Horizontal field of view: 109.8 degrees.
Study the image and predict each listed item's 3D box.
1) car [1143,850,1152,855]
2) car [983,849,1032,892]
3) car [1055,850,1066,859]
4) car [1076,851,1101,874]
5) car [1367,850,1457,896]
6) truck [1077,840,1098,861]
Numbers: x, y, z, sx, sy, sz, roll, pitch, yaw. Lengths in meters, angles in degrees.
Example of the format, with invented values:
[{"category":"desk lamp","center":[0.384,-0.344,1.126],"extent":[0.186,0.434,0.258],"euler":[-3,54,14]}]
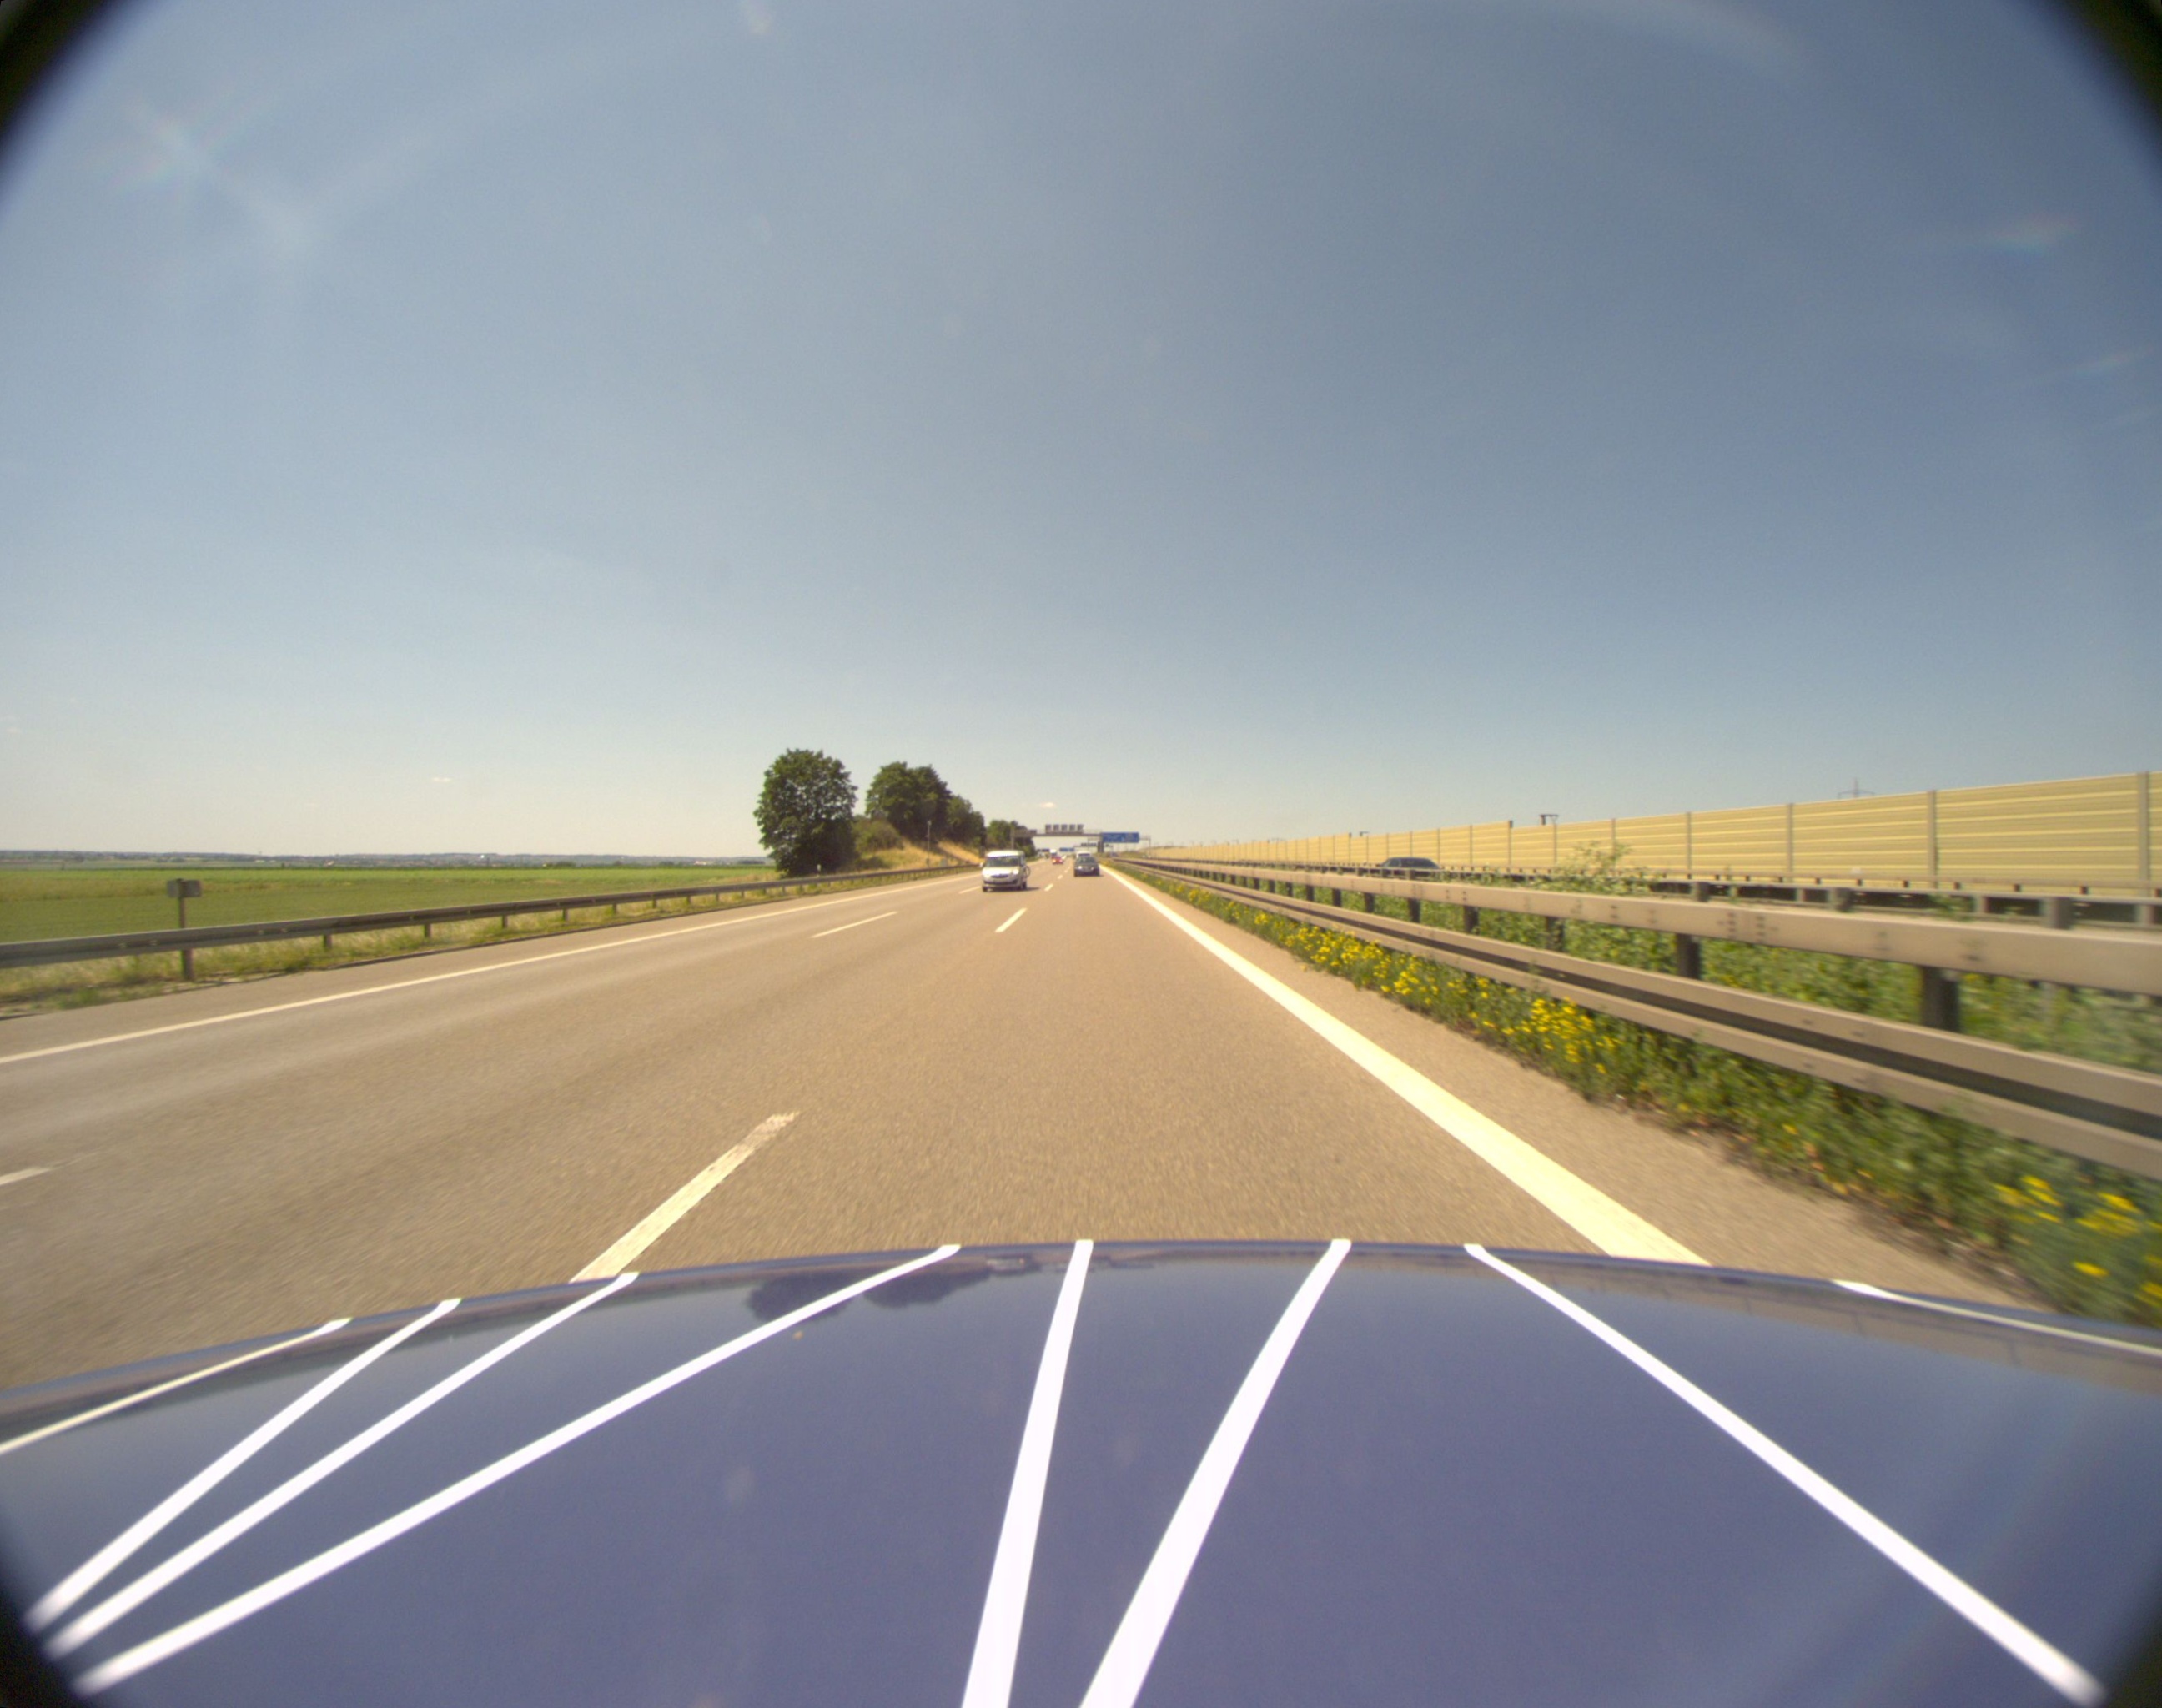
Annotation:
[{"category":"car","center":[17.833,-0.417,203.876],"extent":[1.998,1.455,4.813],"euler":[-1,1,0]},{"category":"car","center":[-3.347,0.712,35.670],"extent":[1.812,1.836,5.311],"euler":[-2,0,-1]},{"category":"car","center":[-3.372,0.054,126.771],"extent":[1.723,1.514,3.581],"euler":[-2,1,-1]},{"category":"car","center":[0.505,0.580,54.276],"extent":[1.715,1.586,4.546],"euler":[0,0,-1]},{"category":"car","center":[13.709,0.732,31.717],"extent":[1.998,1.674,3.999],"euler":[-2,1,1]},{"category":"truck","center":[0.708,-0.422,92.721],"extent":[2.333,2.378,6.685],"euler":[-2,1,-1]}]
